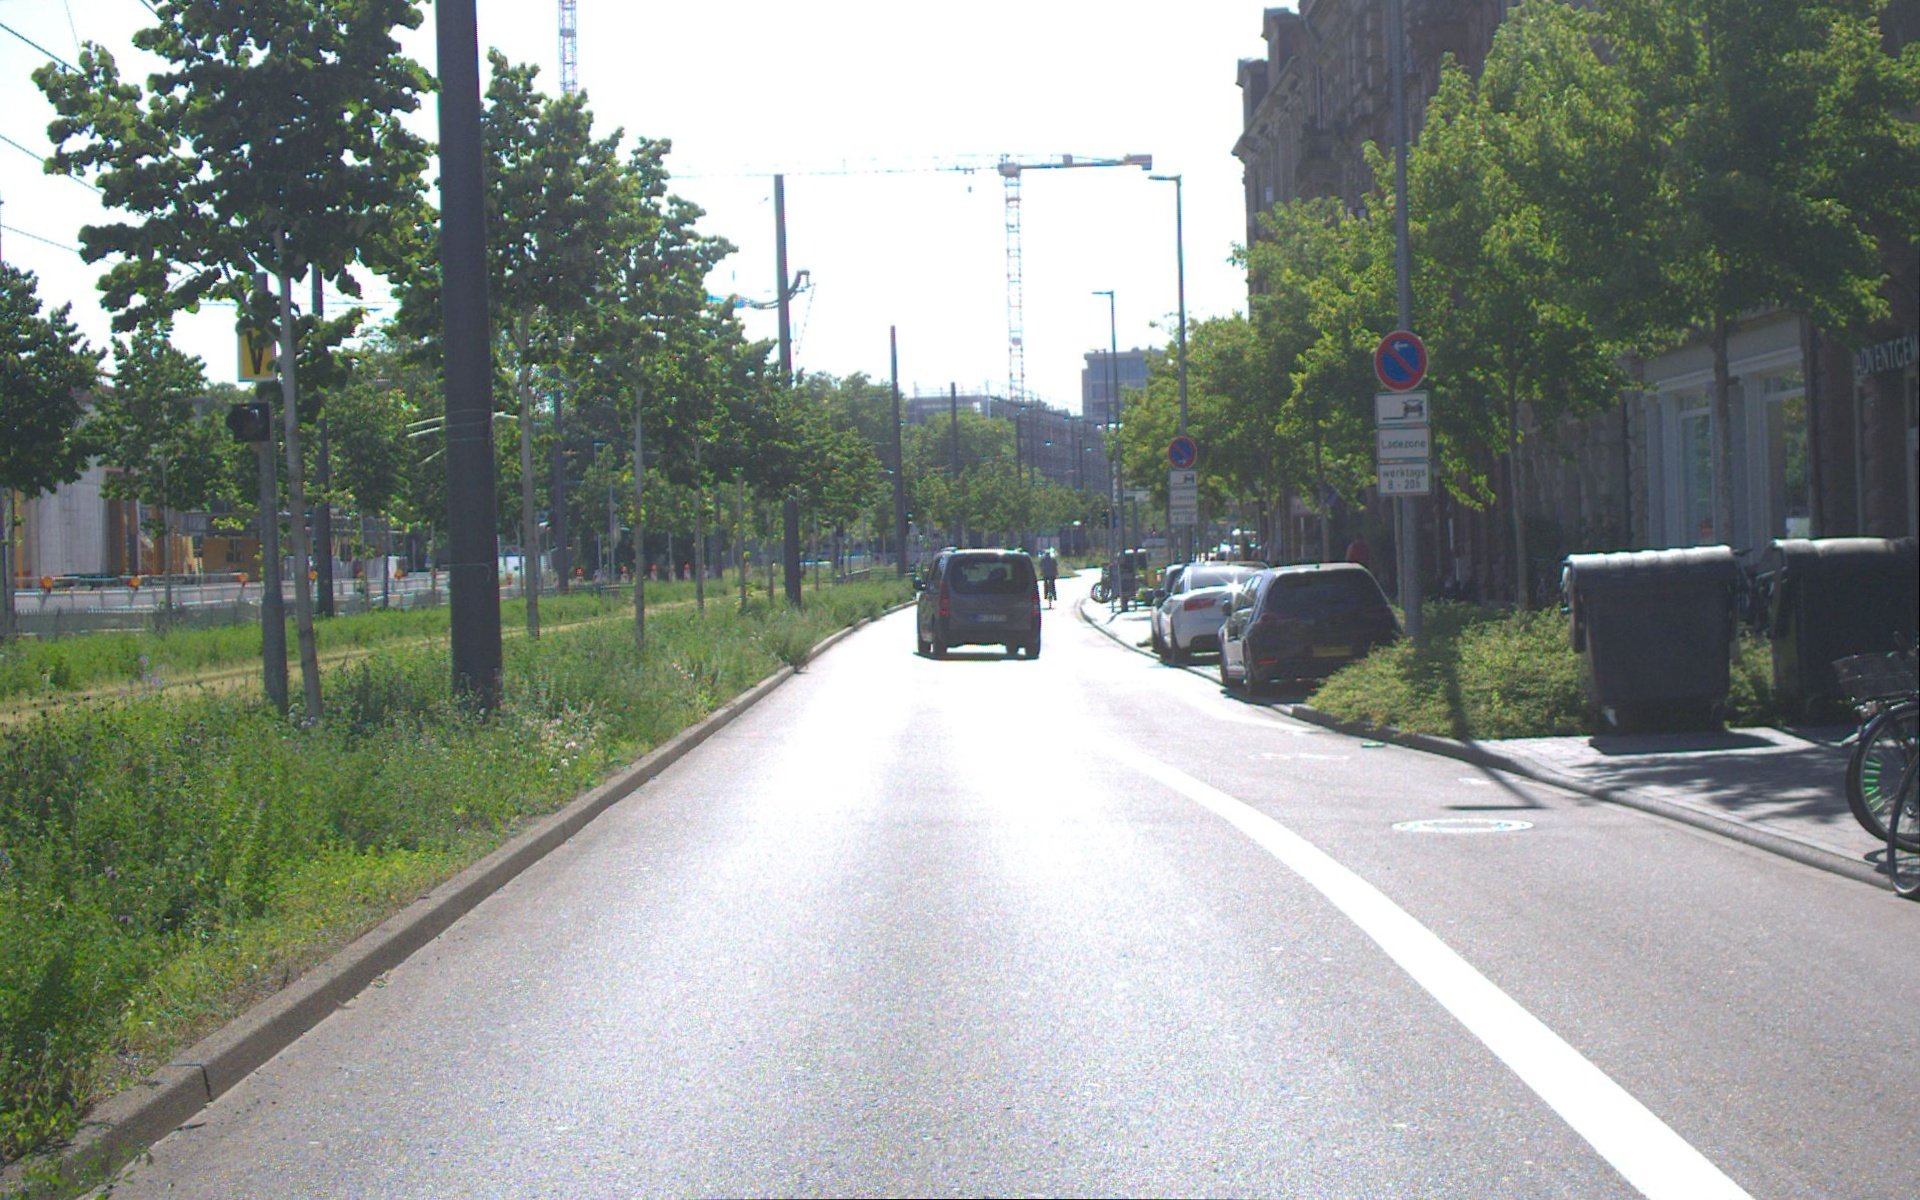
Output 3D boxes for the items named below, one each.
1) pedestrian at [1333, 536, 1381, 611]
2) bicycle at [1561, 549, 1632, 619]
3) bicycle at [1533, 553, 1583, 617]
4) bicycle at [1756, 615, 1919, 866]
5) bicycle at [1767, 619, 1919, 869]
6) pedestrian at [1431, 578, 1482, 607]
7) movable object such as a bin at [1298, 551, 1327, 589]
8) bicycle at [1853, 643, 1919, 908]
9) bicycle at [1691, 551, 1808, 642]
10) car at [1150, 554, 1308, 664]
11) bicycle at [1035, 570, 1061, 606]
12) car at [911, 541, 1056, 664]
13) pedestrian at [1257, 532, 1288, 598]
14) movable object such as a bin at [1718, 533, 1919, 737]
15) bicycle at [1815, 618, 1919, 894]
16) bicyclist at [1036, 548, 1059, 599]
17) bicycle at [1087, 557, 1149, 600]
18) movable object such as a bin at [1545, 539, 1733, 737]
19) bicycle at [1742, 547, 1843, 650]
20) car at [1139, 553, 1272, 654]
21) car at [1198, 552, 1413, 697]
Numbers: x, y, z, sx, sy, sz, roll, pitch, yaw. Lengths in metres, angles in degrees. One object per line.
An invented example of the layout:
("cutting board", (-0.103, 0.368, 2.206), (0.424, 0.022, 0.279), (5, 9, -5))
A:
("pedestrian", (9.217, -0.607, 79.764), (0.996, 1.725, 0.866), (0, 0, 0))
("bicycle", (10.429, -0.274, 56.380), (0.721, 1.086, 2.198), (-3, 1, 0))
("bicycle", (10.566, -0.272, 60.756), (0.481, 1.086, 2.057), (-3, 1, 0))
("bicycle", (4.978, 0.626, 16.821), (1.974, 1.120, 0.482), (-5, 2, -5))
("bicycle", (4.985, 0.624, 16.413), (2.043, 1.103, 0.611), (-4, 0, -6))
("pedestrian", (10.566, -0.165, 73.208), (0.773, 0.551, 2.007), (-2, 1, 0))
("movable object such as a bin", (10.425, -0.888, 101.733), (0.725, 1.094, 0.748), (-1, 1, -4))
("bicycle", (5.080, 0.686, 14.984), (2.284, 1.098, 0.486), (-4, 0, -14))
("bicycle", (10.374, -0.057, 45.246), (0.875, 1.101, 2.182), (-4, 1, -3))
("car", (4.064, 0.107, 52.659), (1.951, 1.490, 5.105), (-3, 1, 0))
("bicycle", (2.746, -0.380, 107.297), (0.701, 1.087, 2.277), (-1, 1, 0))
("car", (0.364, 0.042, 58.283), (1.993, 2.007, 4.001), (0, 0, -6))
("pedestrian", (9.579, -1.080, 105.529), (0.817, 2.007, 1.046), (-1, 1, 0))
("movable object such as a bin", (6.918, 0.262, 27.229), (1.373, 1.490, 1.749), (-4, 0, 1))
("bicycle", (4.936, 0.610, 15.329), (2.146, 1.150, 0.429), (-5, 1, -13))
("bicyclist", (2.739, -0.825, 107.468), (0.683, 1.579, 0.840), (-1, 1, 0))
("bicycle", (5.054, -0.683, 110.019), (1.878, 1.229, 0.500), (-4, 0, -5))
("movable object such as a bin", (5.322, 0.276, 27.062), (1.271, 1.458, 1.643), (0, 3, 5))
("bicycle", (10.201, -0.017, 42.182), (0.748, 1.197, 1.801), (-3, 0, 0))
("car", (4.201, 0.049, 59.394), (1.884, 1.564, 4.220), (-4, 0, 0))
("car", (3.951, 0.274, 39.952), (1.765, 1.472, 4.449), (-4, 0, -3))
